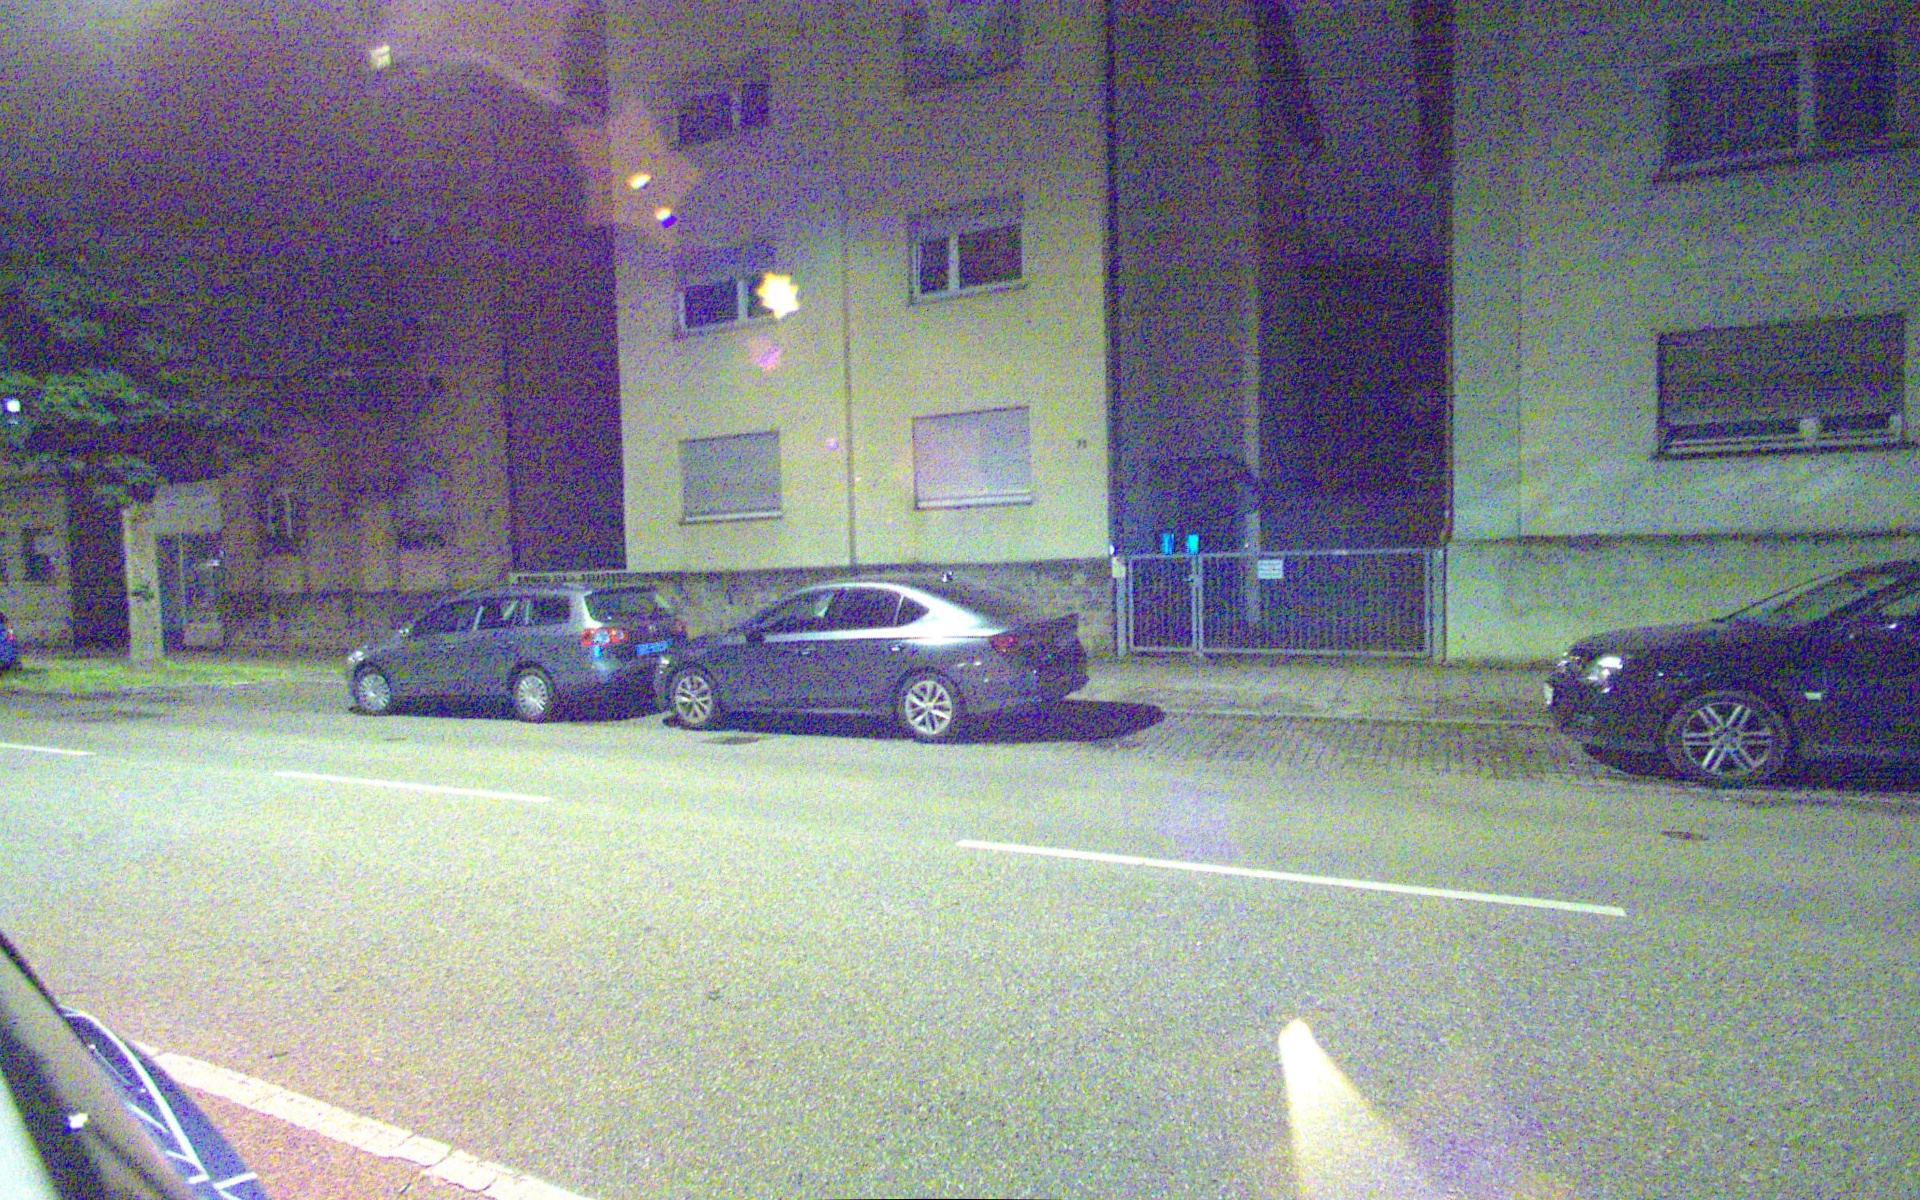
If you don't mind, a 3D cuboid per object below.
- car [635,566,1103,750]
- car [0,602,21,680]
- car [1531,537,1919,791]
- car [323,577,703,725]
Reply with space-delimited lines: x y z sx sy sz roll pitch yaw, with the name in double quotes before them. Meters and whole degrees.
"car" -0.935 0.488 9.869 4.323 1.444 1.544 -1 3 26
"car" -19.955 0.816 19.487 3.496 1.475 1.619 -1 1 26
"car" 6.319 0.329 6.532 4.377 1.444 1.852 -1 3 24
"car" -5.340 0.548 12.039 4.324 1.444 1.631 -1 3 25
